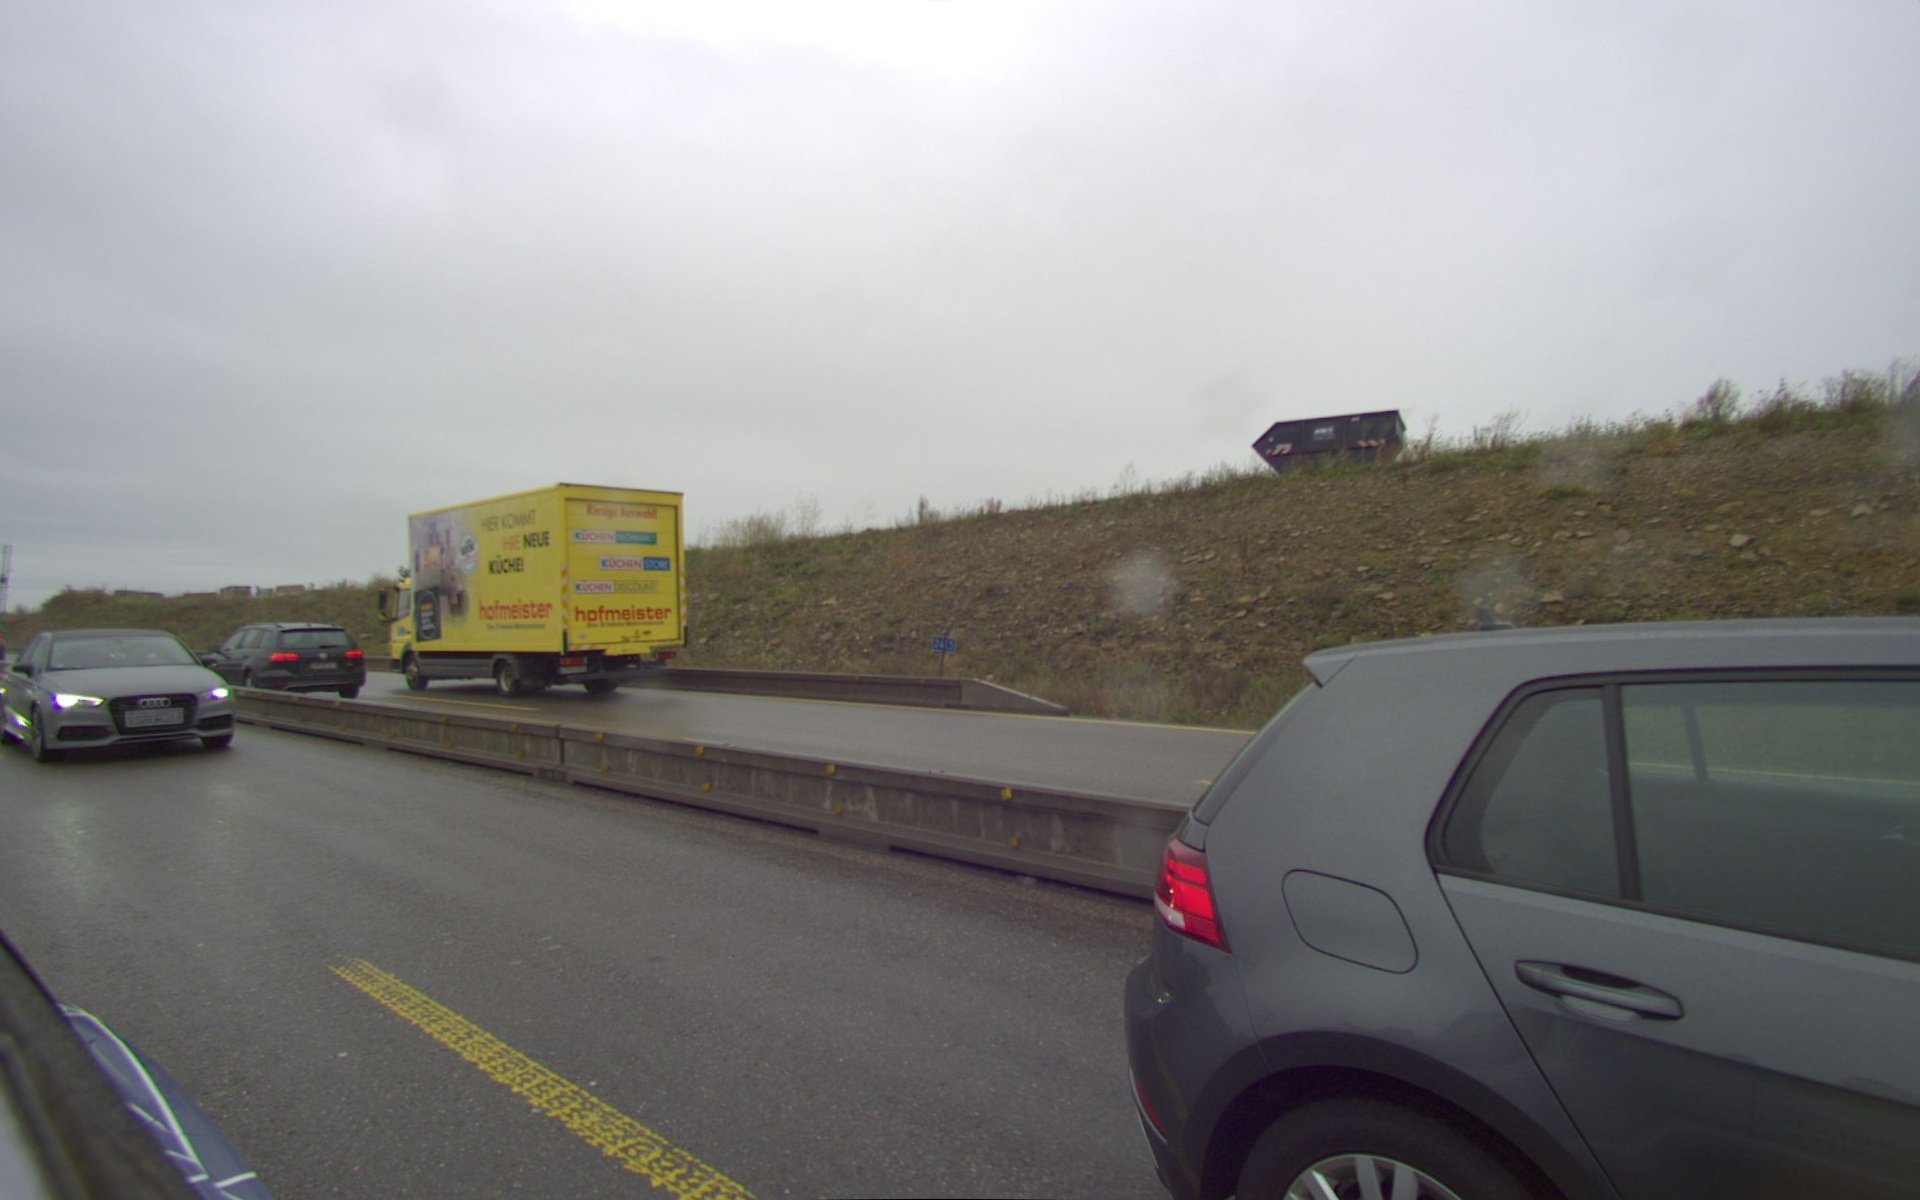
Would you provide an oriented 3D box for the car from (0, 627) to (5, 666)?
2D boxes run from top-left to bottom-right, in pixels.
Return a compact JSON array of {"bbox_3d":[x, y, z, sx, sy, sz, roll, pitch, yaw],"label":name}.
[{"bbox_3d":[-41.367,1.959,42.143,3.995,1.609,1.743,-2,0,38],"label":"car"}]

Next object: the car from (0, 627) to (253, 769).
[{"bbox_3d":[-10.198,1.033,12.135,4.083,1.393,1.782,-1,-1,39],"label":"car"}]

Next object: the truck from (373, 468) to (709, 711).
[{"bbox_3d":[-8.776,-0.097,20.505,8.416,4.027,2.740,-2,-1,40],"label":"truck"}]

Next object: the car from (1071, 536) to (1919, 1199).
[{"bbox_3d":[2.379,0.683,1.189,4.366,1.518,1.597,-2,-3,41],"label":"car"}]

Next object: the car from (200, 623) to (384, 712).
[{"bbox_3d":[-12.559,1.179,18.931,4.113,1.417,1.848,-2,0,41],"label":"car"}]
